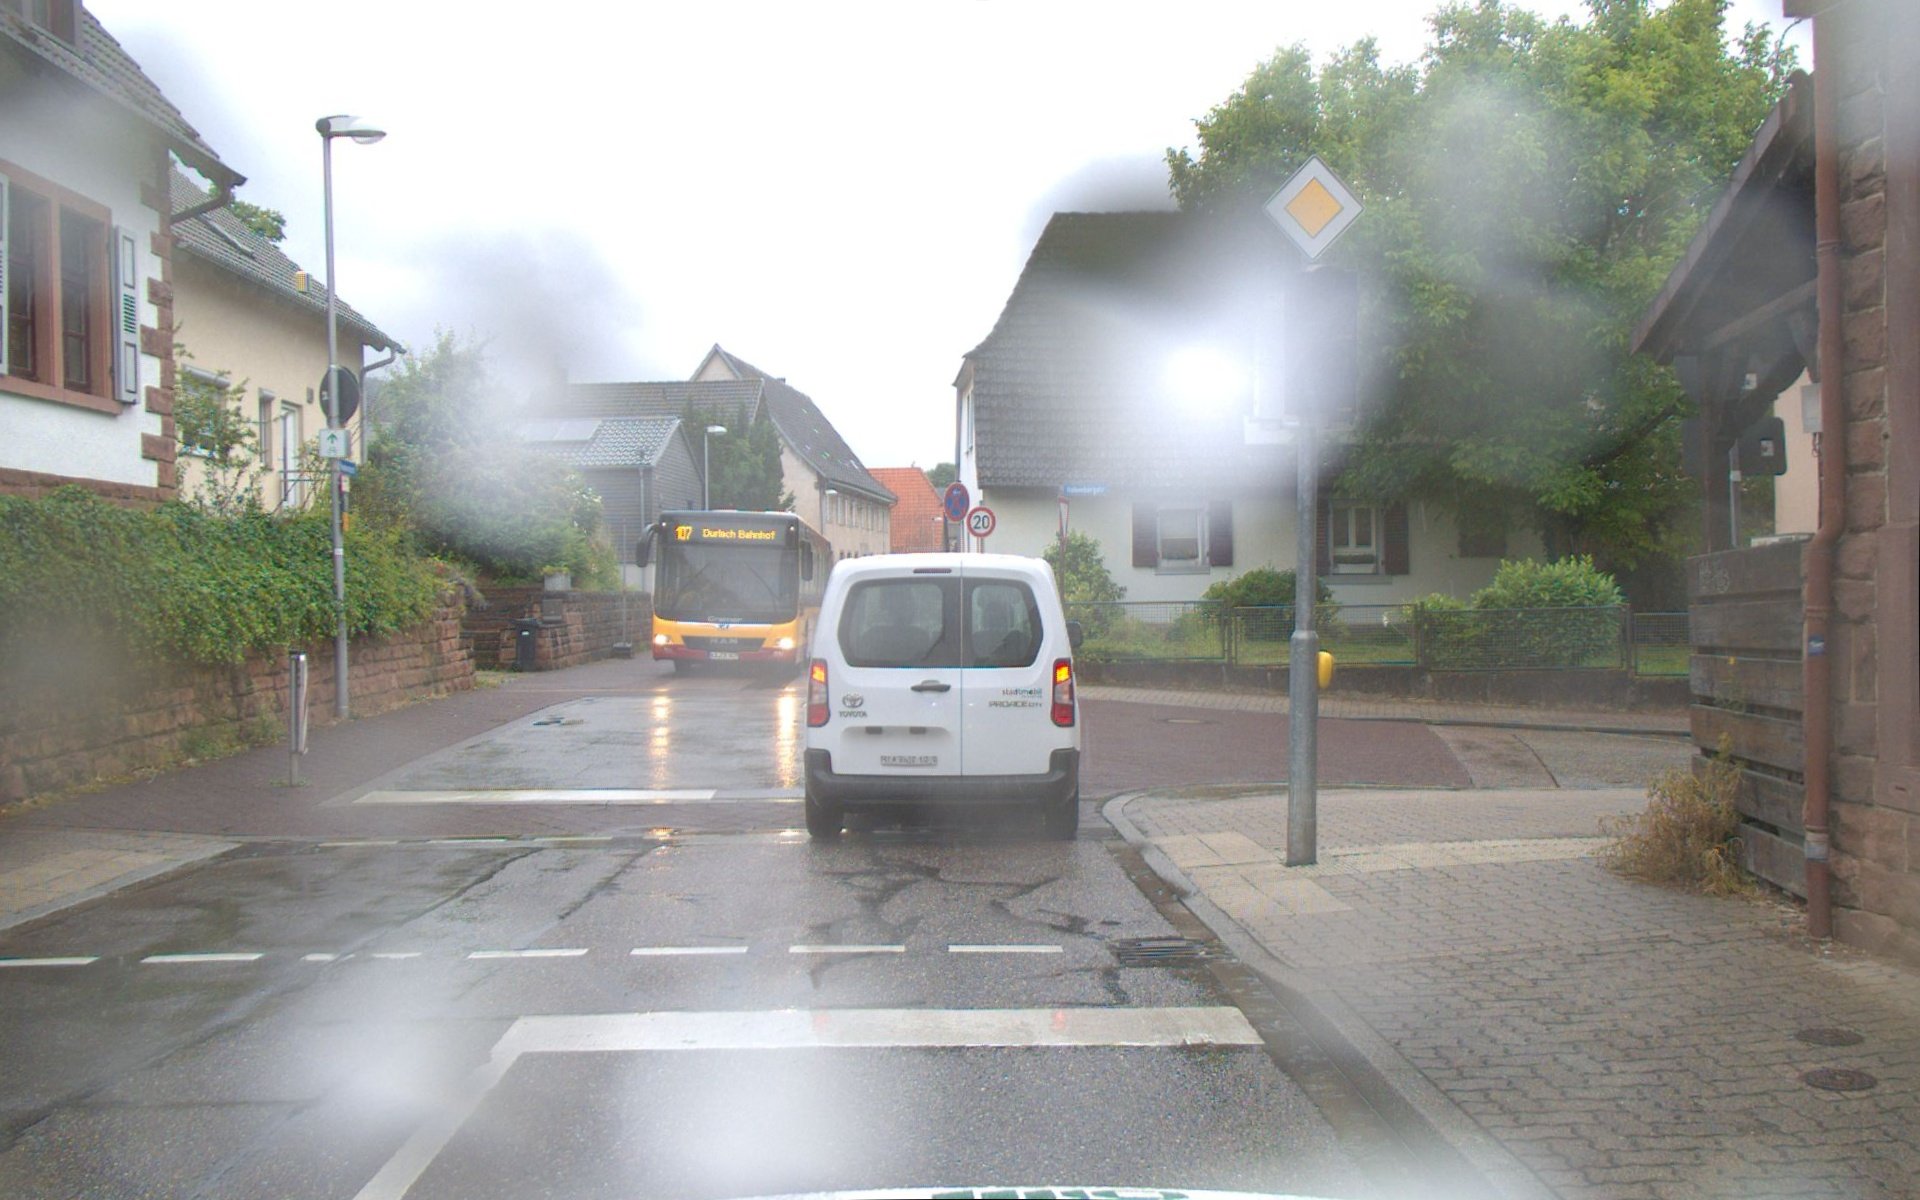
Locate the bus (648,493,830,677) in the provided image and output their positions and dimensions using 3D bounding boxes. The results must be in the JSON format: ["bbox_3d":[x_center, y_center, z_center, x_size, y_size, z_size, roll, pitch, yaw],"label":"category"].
[{"bbox_3d":[-4.137,-0.446,33.529,2.596,3.051,12.188,0,2,-3],"label":"bus"}]

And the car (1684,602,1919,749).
[{"bbox_3d":[10.273,0.824,18.237,3.902,1.492,1.785,1,-1,13],"label":"car"}]

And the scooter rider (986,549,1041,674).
[{"bbox_3d":[0.759,0.152,23.605,0.717,1.763,0.517,0,1,-6],"label":"scooter rider"}]

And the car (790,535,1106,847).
[{"bbox_3d":[-0.076,0.528,11.707,1.855,1.825,3.813,1,0,0],"label":"car"}]
